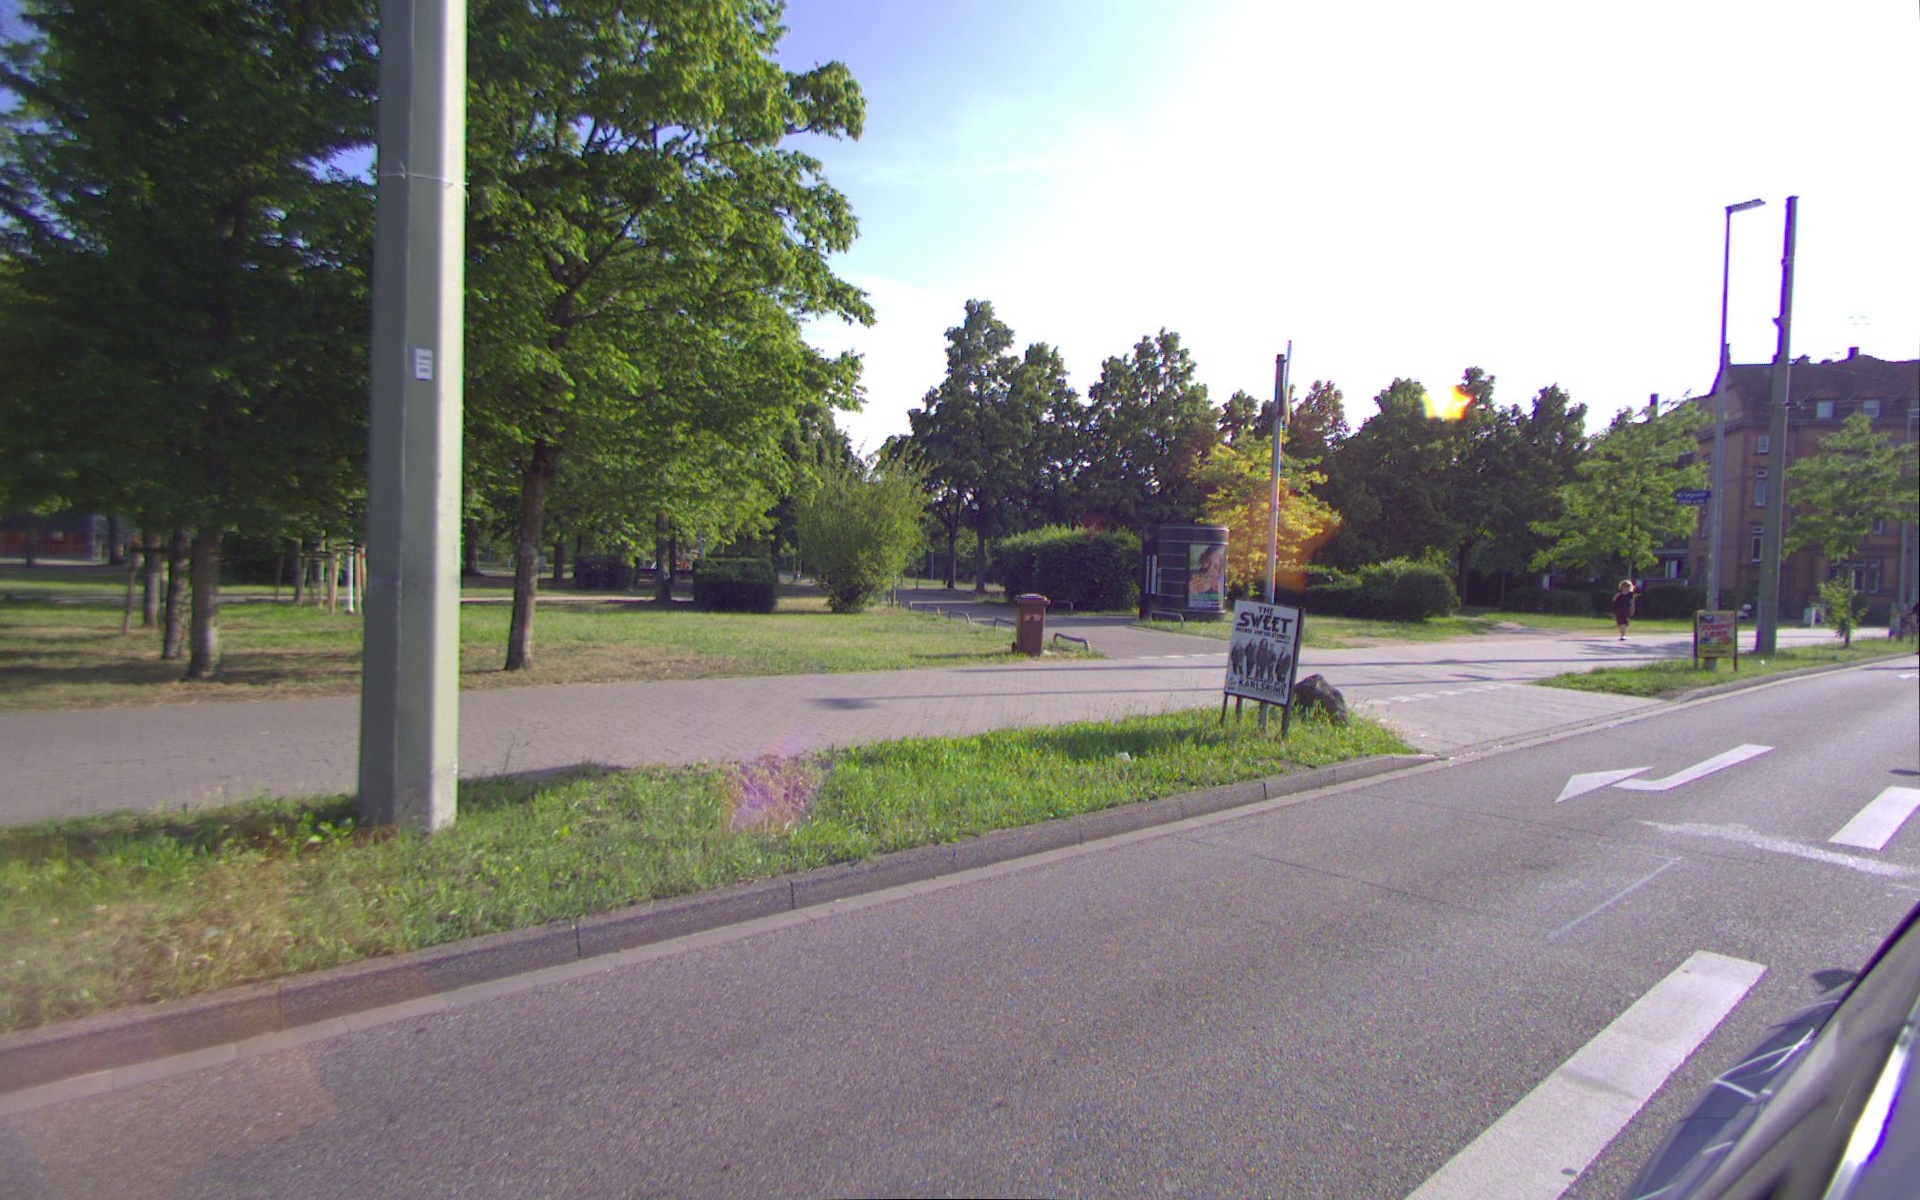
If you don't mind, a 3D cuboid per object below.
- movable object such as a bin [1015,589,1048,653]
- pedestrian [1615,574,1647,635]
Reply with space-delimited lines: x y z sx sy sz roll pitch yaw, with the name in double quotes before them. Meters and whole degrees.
"movable object such as a bin" 1.085 0.306 15.433 0.447 0.929 0.605 2 2 1
"pedestrian" 19.106 0.130 28.815 0.607 1.706 0.621 1 0 -40
